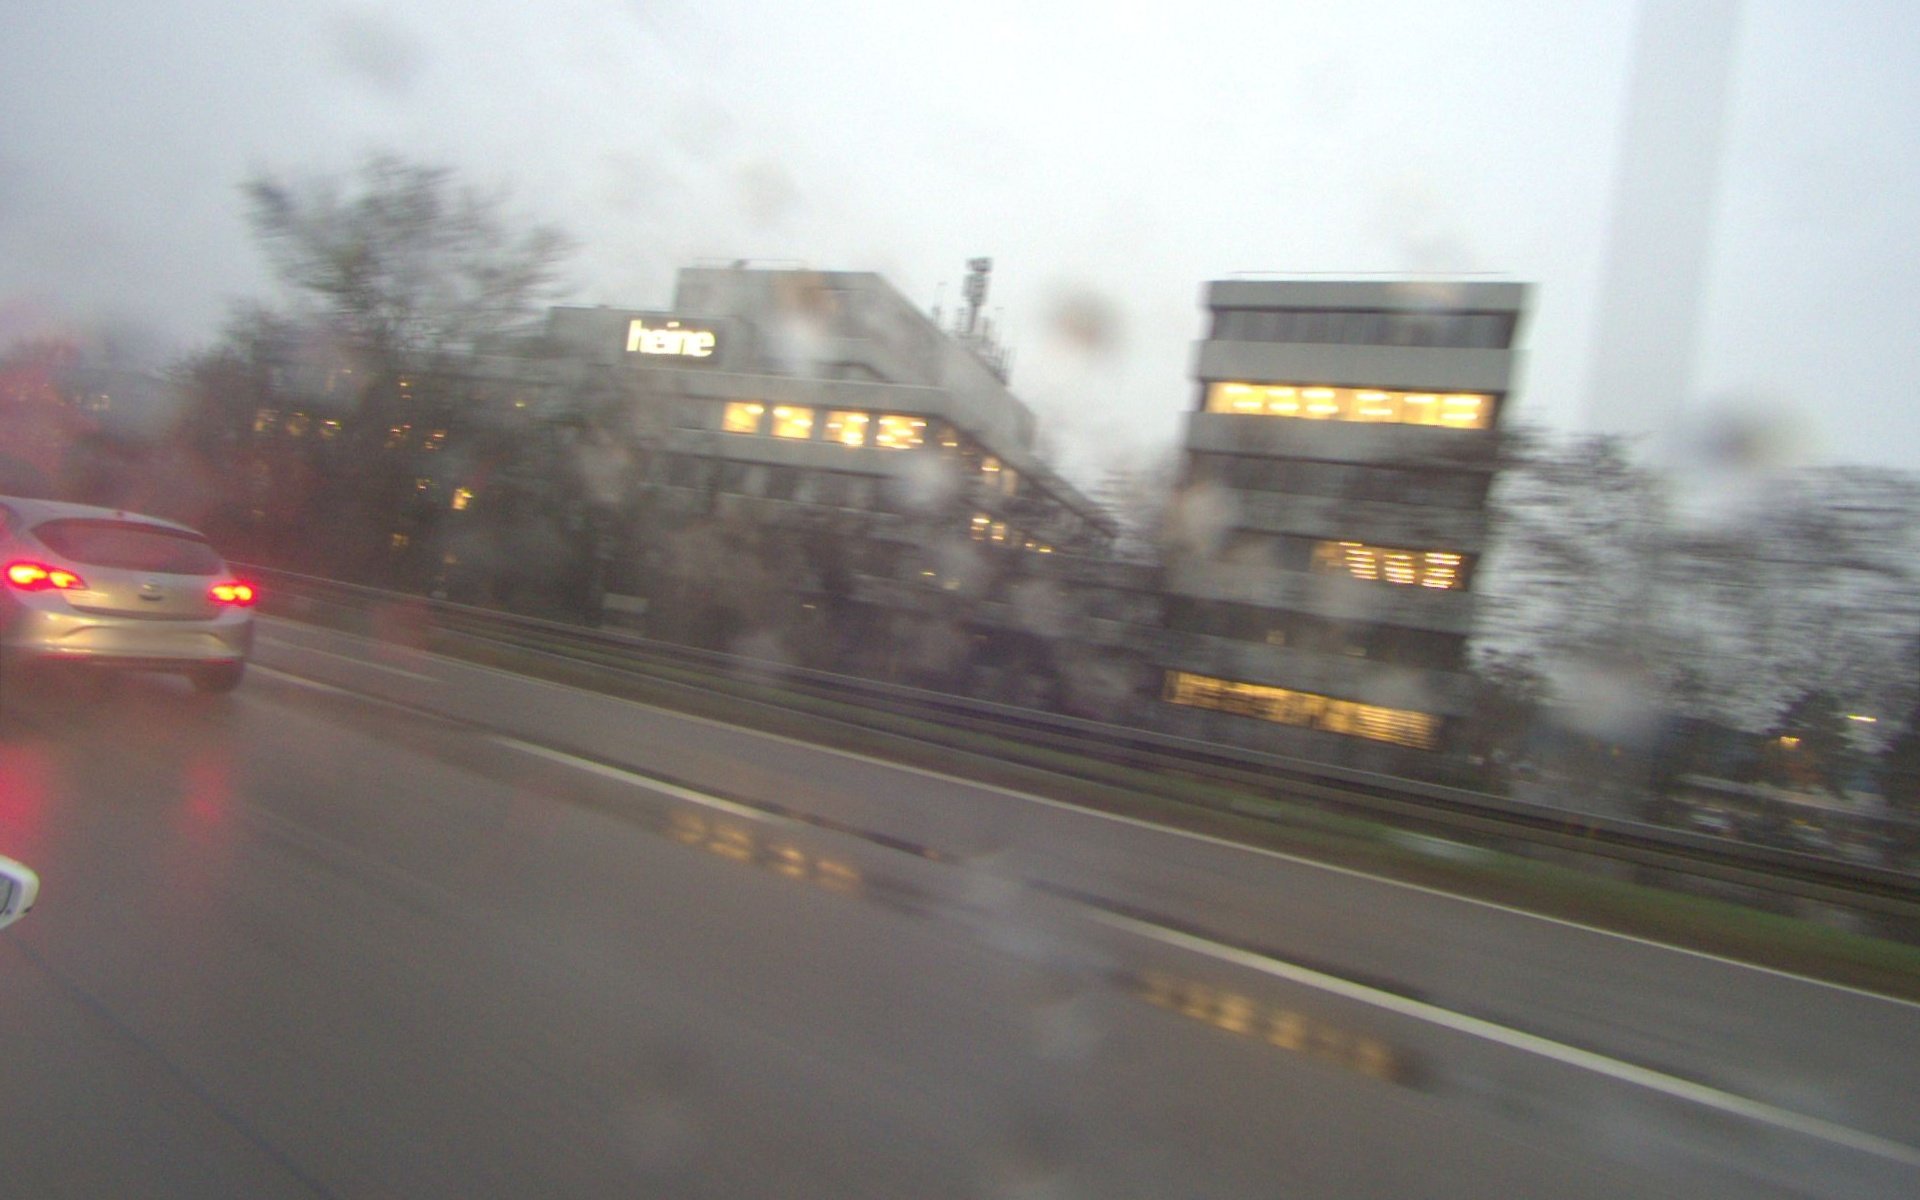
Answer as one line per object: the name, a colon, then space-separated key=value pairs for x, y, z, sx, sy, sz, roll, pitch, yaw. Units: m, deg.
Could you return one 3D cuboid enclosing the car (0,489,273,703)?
car: x=-8.295 y=-0.161 z=9.022 sx=4.191 sy=1.519 sz=1.853 roll=7 pitch=-2 yaw=32
